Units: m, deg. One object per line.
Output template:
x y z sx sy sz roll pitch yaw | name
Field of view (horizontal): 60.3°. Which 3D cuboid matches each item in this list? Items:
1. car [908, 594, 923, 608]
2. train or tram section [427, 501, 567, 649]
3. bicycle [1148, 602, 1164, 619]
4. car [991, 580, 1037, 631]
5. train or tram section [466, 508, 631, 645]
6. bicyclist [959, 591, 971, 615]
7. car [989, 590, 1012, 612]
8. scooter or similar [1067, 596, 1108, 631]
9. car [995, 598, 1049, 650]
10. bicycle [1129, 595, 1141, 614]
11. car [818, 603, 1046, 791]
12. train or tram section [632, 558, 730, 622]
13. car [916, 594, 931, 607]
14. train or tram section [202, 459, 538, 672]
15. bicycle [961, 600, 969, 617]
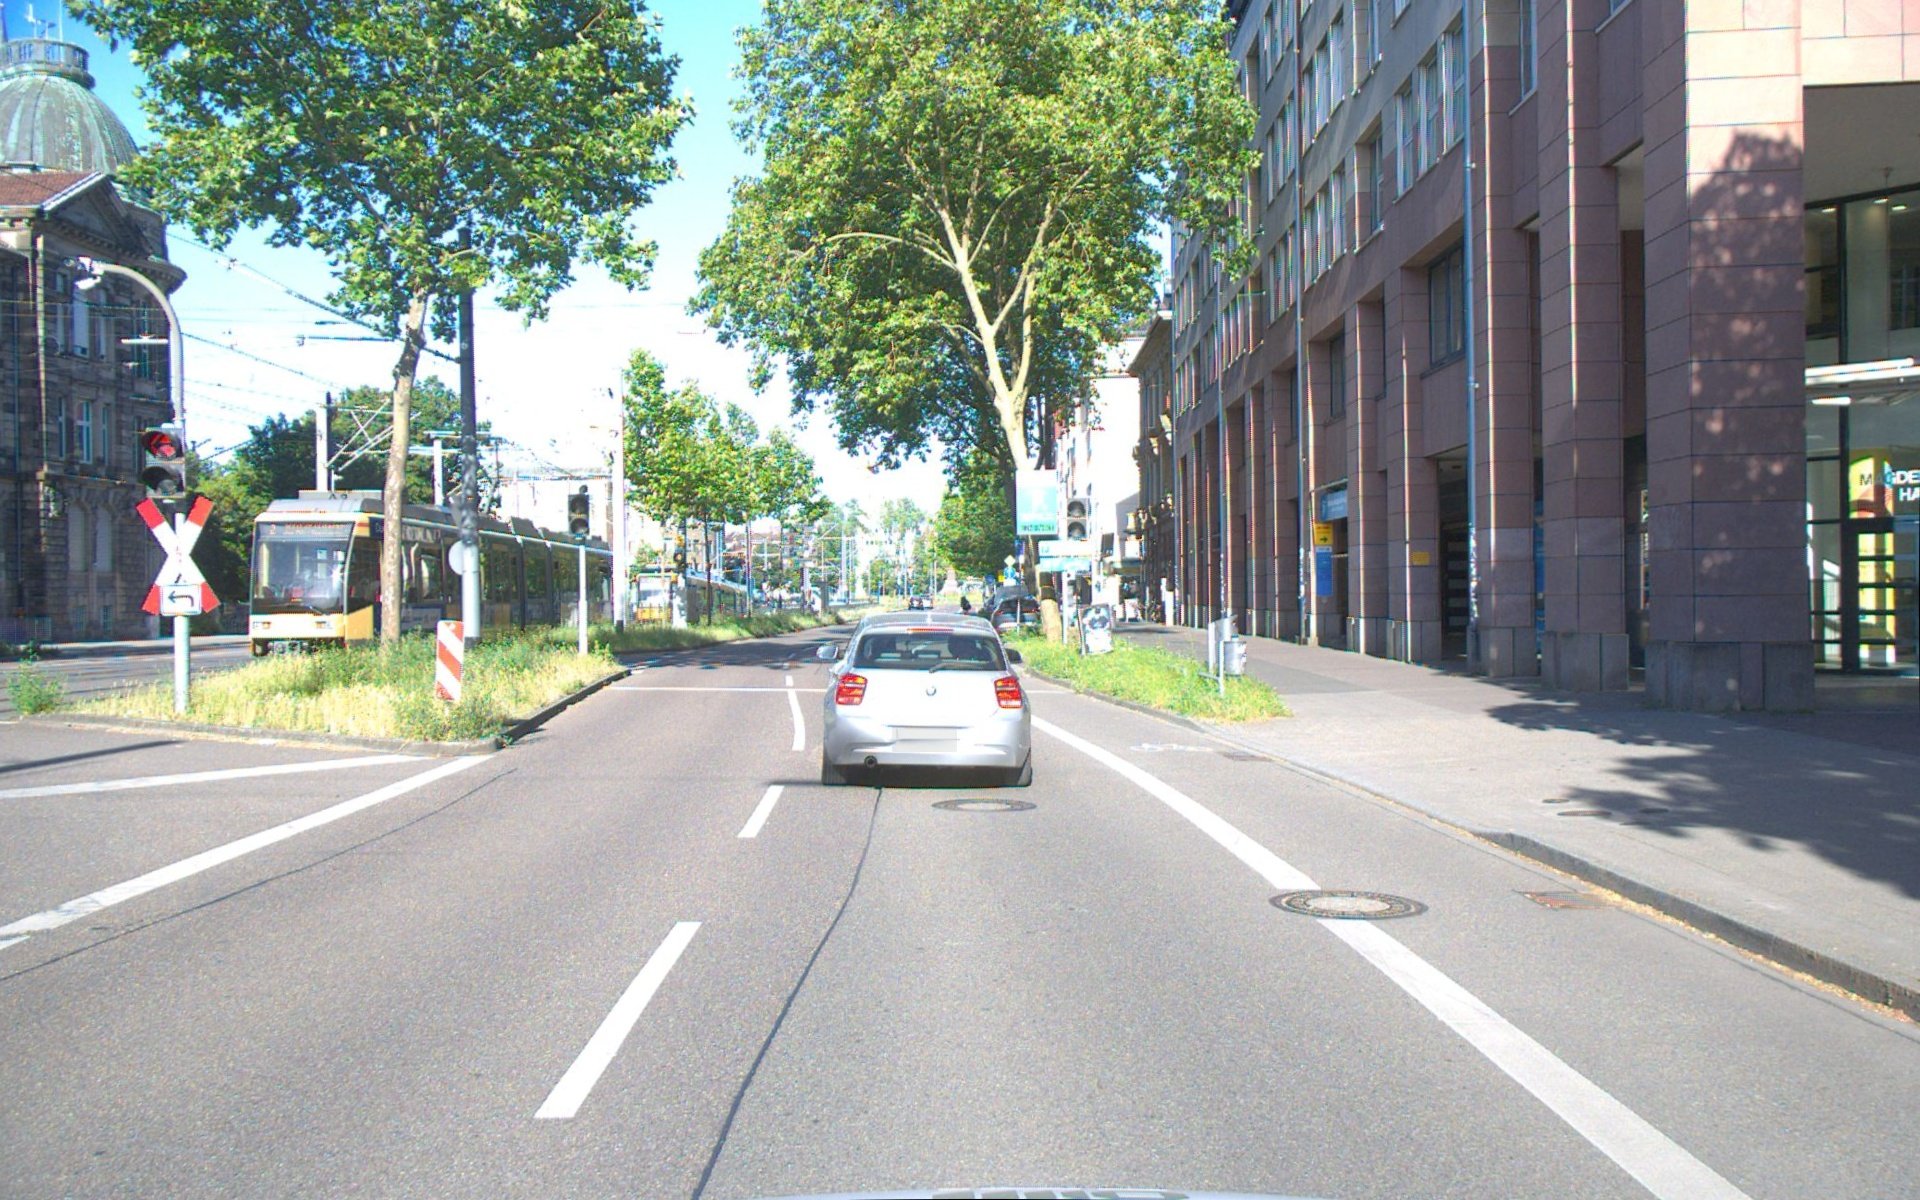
-5.010 0.082 184.755 1.692 1.496 4.409 0 0 -2 | car
-13.001 -0.685 46.744 2.895 3.965 3.864 1 0 -2 | train or tram section
9.317 0.499 78.794 0.537 0.787 1.663 -2 0 0 | bicycle
2.244 0.216 70.207 1.818 2.049 4.724 1 0 0 | car
-13.186 -0.689 54.081 2.893 3.965 10.799 1 0 -2 | train or tram section
0.353 0.171 108.331 0.769 1.558 0.895 1 0 0 | bicyclist
3.129 0.062 128.936 1.660 1.528 3.801 -3 1 0 | car
4.779 0.499 61.931 1.509 1.259 0.449 -1 0 1 | scooter or similar
1.997 0.742 53.522 1.633 1.598 4.281 1 0 2 | car
9.123 0.234 86.235 0.406 1.015 1.882 0 0 0 | bicycle
-0.262 0.770 14.994 1.761 1.439 3.999 1 0 -1 | car
-17.080 -0.619 103.119 2.903 3.544 21.213 1 0 -1 | train or tram section
-4.217 0.066 192.817 1.610 1.446 4.000 0 0 1 | car
-12.714 -0.636 37.699 2.869 3.878 14.268 1 0 -2 | train or tram section
0.323 0.567 108.254 0.489 1.107 1.997 1 0 1 | bicycle
